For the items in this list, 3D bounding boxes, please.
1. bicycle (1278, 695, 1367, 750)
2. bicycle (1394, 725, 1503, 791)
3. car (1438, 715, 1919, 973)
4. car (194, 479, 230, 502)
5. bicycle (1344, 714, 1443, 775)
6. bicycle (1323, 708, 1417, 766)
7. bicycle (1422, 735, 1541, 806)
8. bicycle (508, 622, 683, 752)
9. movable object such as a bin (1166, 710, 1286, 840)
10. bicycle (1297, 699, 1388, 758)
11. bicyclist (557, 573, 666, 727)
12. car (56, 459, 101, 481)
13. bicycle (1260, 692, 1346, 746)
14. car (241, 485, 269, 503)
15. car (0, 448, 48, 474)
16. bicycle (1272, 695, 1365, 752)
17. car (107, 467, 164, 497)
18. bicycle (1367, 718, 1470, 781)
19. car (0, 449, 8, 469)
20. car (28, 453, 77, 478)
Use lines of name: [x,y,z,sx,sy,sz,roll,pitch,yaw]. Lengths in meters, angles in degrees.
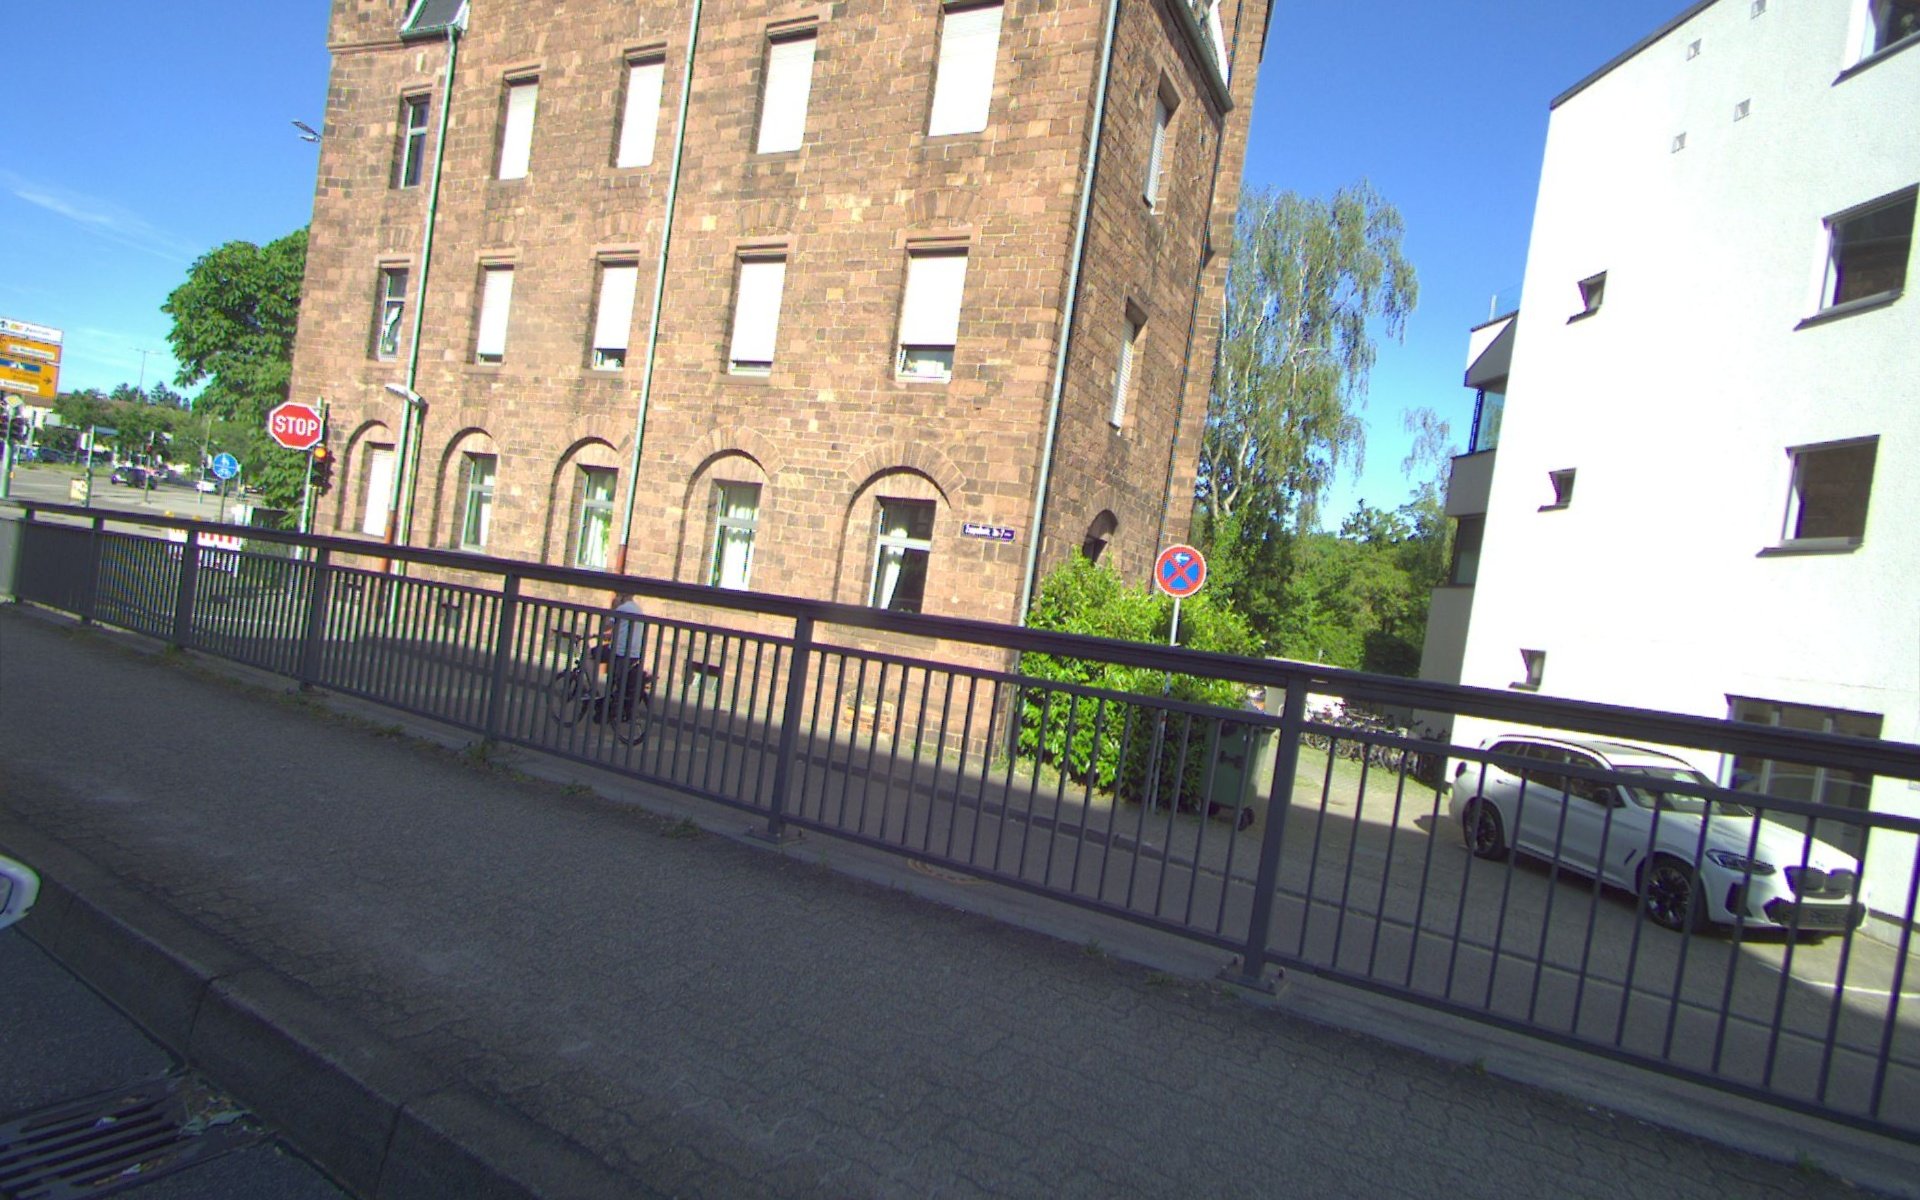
bicycle: [9.786,3.310,27.154,2.075,1.174,0.664,8,1,-10]
bicycle: [10.278,3.330,21.197,1.889,1.065,0.664,8,1,-7]
car: [8.013,2.625,11.880,1.814,1.707,4.520,8,0,-10]
car: [-68.554,-10.027,92.283,1.869,1.650,3.972,8,0,-27]
bicycle: [9.898,3.301,22.995,1.889,1.065,0.664,8,1,-7]
bicycle: [9.782,3.267,24.021,1.889,1.065,0.664,8,1,-7]
bicycle: [10.133,3.308,19.566,1.889,1.065,0.664,8,1,-7]
bicycle: [-4.211,0.981,11.594,1.806,1.154,0.690,9,0,25]
movable object such as a bin: [3.234,2.077,12.182,1.011,1.307,1.005,9,0,29]
bicycle: [9.568,3.206,25.186,1.889,1.174,0.664,8,1,-7]
bicyclist: [-3.981,0.573,11.515,0.684,1.627,0.688,9,0,25]
car: [-84.372,-12.418,96.320,1.860,1.598,3.977,8,1,-22]
bicycle: [9.533,3.309,28.003,2.075,1.174,0.664,8,1,-10]
car: [-86.552,-12.973,123.547,1.867,1.565,3.978,8,-2,-24]
car: [-78.679,-11.627,84.328,1.860,1.598,3.977,8,1,-22]
bicycle: [9.296,3.206,26.116,2.075,1.174,0.664,8,1,-10]
car: [-62.971,-8.987,76.904,1.863,1.650,3.983,8,0,-18]
bicycle: [10.063,3.283,22.109,1.889,1.065,0.664,8,1,-7]
car: [-82.173,-12.081,84.411,1.860,1.598,3.977,8,1,-22]
car: [-81.161,-12.004,90.000,1.860,1.598,3.977,8,1,-22]
